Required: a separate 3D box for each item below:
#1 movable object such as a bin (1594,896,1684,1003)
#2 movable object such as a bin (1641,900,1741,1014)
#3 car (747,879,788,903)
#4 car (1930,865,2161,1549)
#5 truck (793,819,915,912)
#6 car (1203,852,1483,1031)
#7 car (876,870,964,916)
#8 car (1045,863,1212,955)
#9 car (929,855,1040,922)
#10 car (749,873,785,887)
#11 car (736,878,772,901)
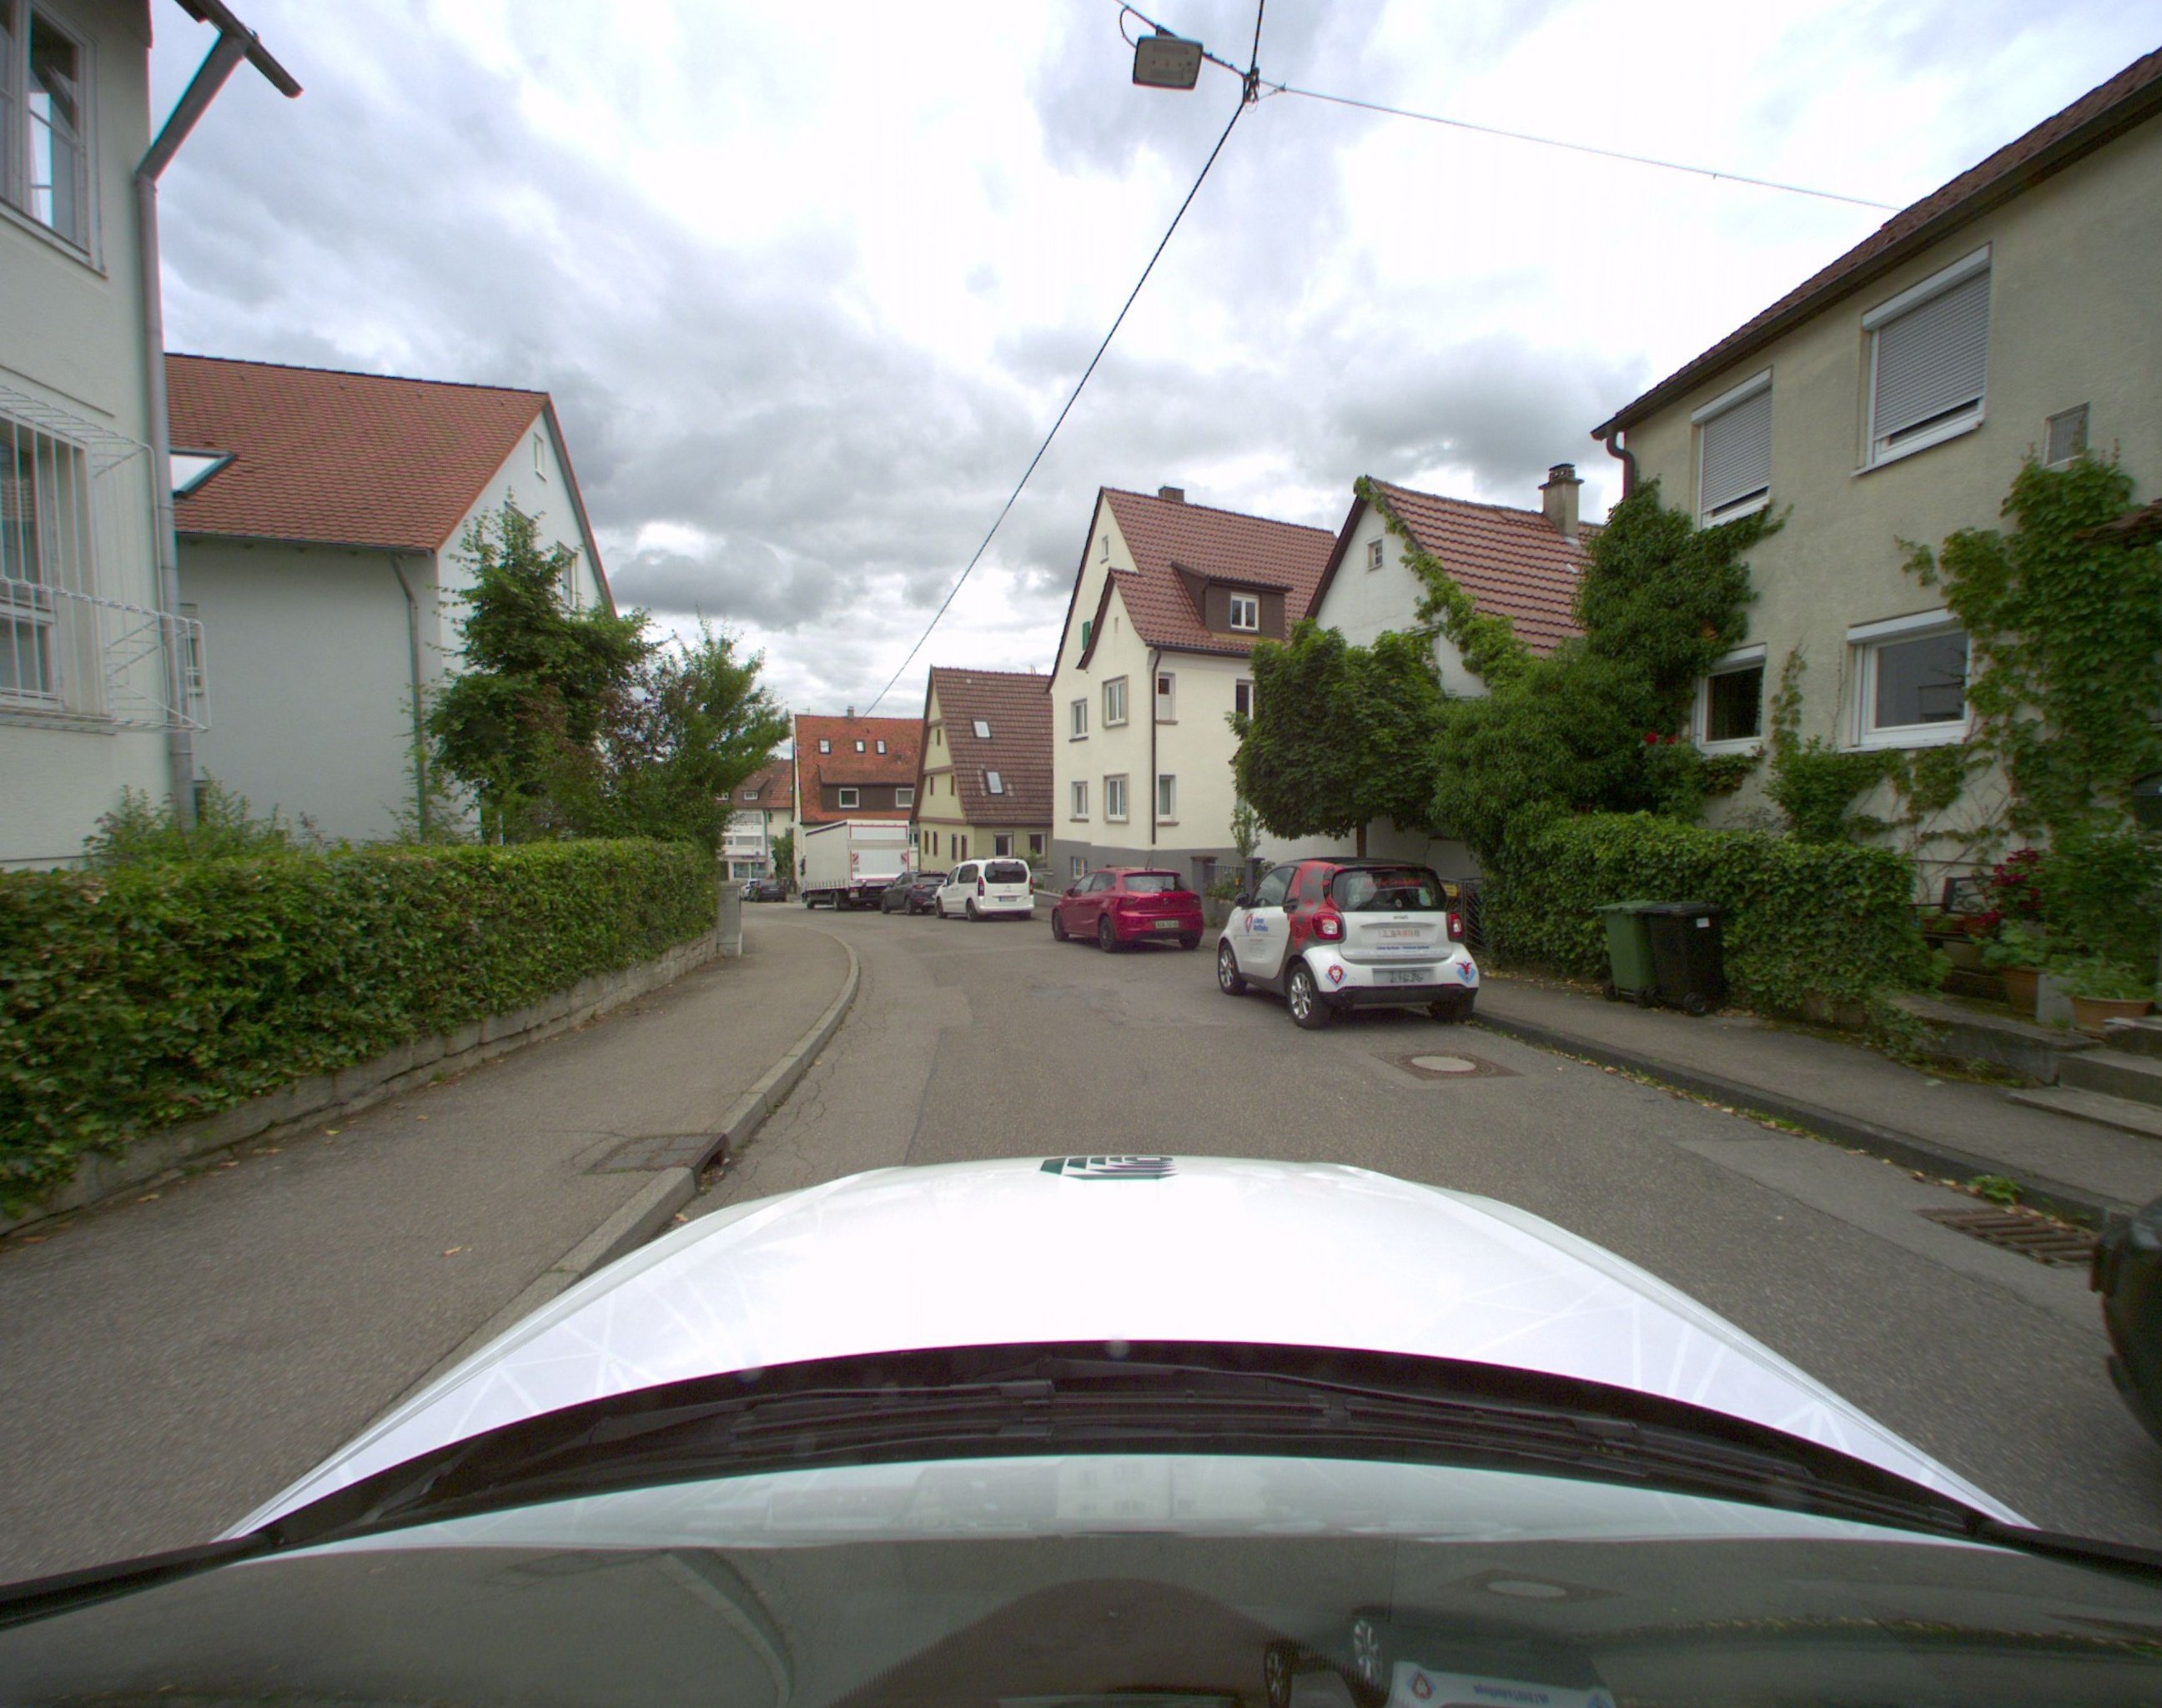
[{"bbox_3d":[5.122,0.862,7.496,0.437,0.913,0.445,-4,-2,-6],"label":"movable object such as a bin"},{"bbox_3d":[5.207,0.864,6.972,0.437,0.898,0.445,-4,-2,-6],"label":"movable object such as a bin"},{"bbox_3d":[-19.558,2.271,50.731,1.684,1.409,4.011,0,-2,-31],"label":"car"},{"bbox_3d":[3.149,0.752,0.178,1.714,1.407,4.000,0,0,-2],"label":"car"},{"bbox_3d":[-10.077,0.546,35.408,2.695,3.597,8.019,-1,-1,-34],"label":"truck"},{"bbox_3d":[2.553,0.795,8.585,1.612,1.532,2.886,2,-1,-11],"label":"car"},{"bbox_3d":[-5.835,1.385,29.178,1.744,1.506,4.009,0,-3,-32],"label":"car"},{"bbox_3d":[0.736,0.938,15.161,1.685,1.452,3.824,0,-2,-21],"label":"car"},{"bbox_3d":[-3.016,1.014,24.531,1.846,1.814,4.263,0,-2,-29],"label":"car"},{"bbox_3d":[-36.707,3.002,95.219,3.657,1.556,1.704,-1,0,14],"label":"car"},{"bbox_3d":[-22.203,2.383,55.223,1.805,1.446,4.257,0,-2,-29],"label":"car"}]
